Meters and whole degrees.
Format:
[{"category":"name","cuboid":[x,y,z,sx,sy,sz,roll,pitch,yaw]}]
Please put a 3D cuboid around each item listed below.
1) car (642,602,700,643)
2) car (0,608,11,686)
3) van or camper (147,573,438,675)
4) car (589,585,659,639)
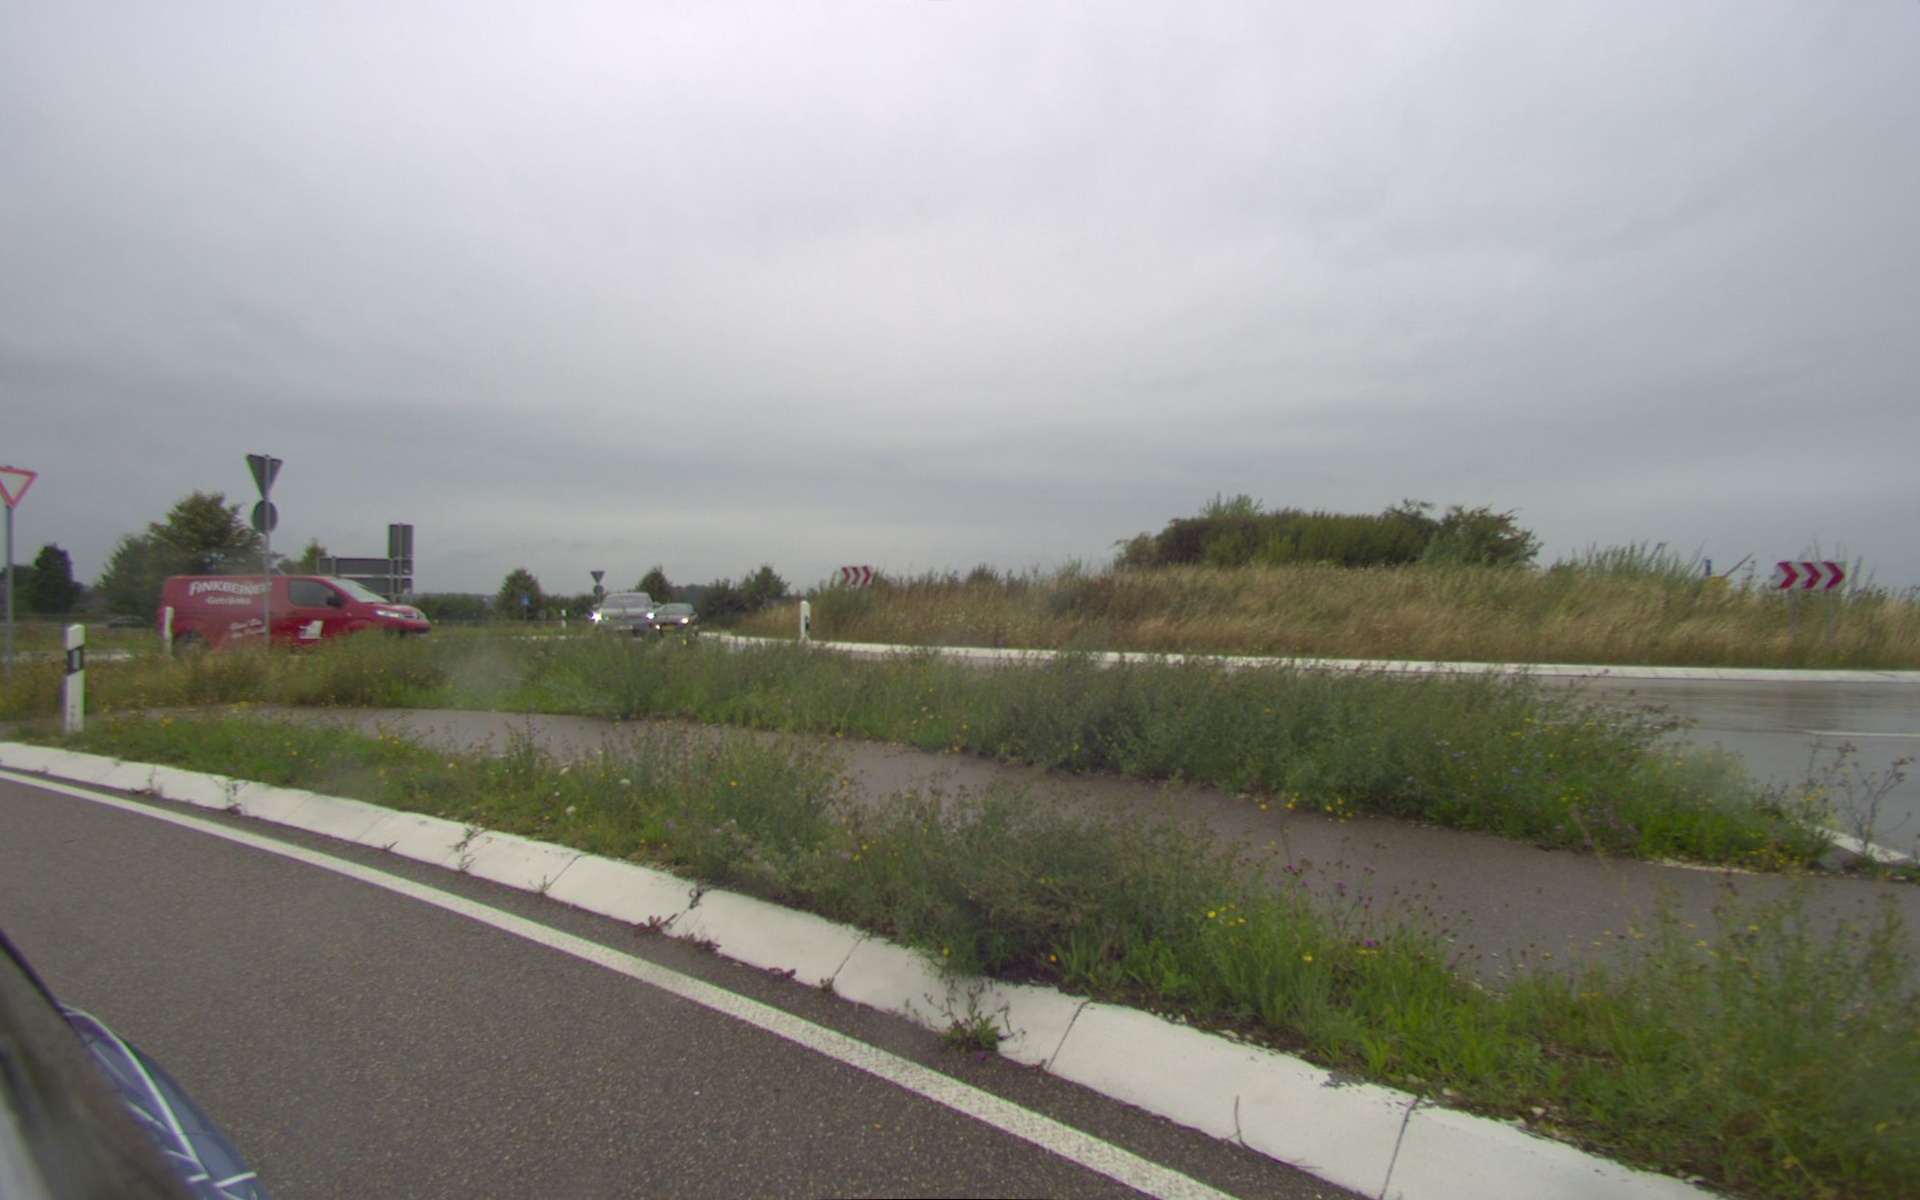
[{"category":"car","cuboid":[-12.323,0.938,43.336,1.798,1.602,4.006,-2,0,-7]},{"category":"car","cuboid":[-21.742,0.923,19.605,4.446,1.615,2.006,1,-2,-18]},{"category":"van or camper","cuboid":[-13.949,0.467,21.426,4.771,2.029,2.004,0,1,-7]},{"category":"car","cuboid":[-10.692,0.325,32.055,1.965,1.586,4.515,0,1,-20]}]
